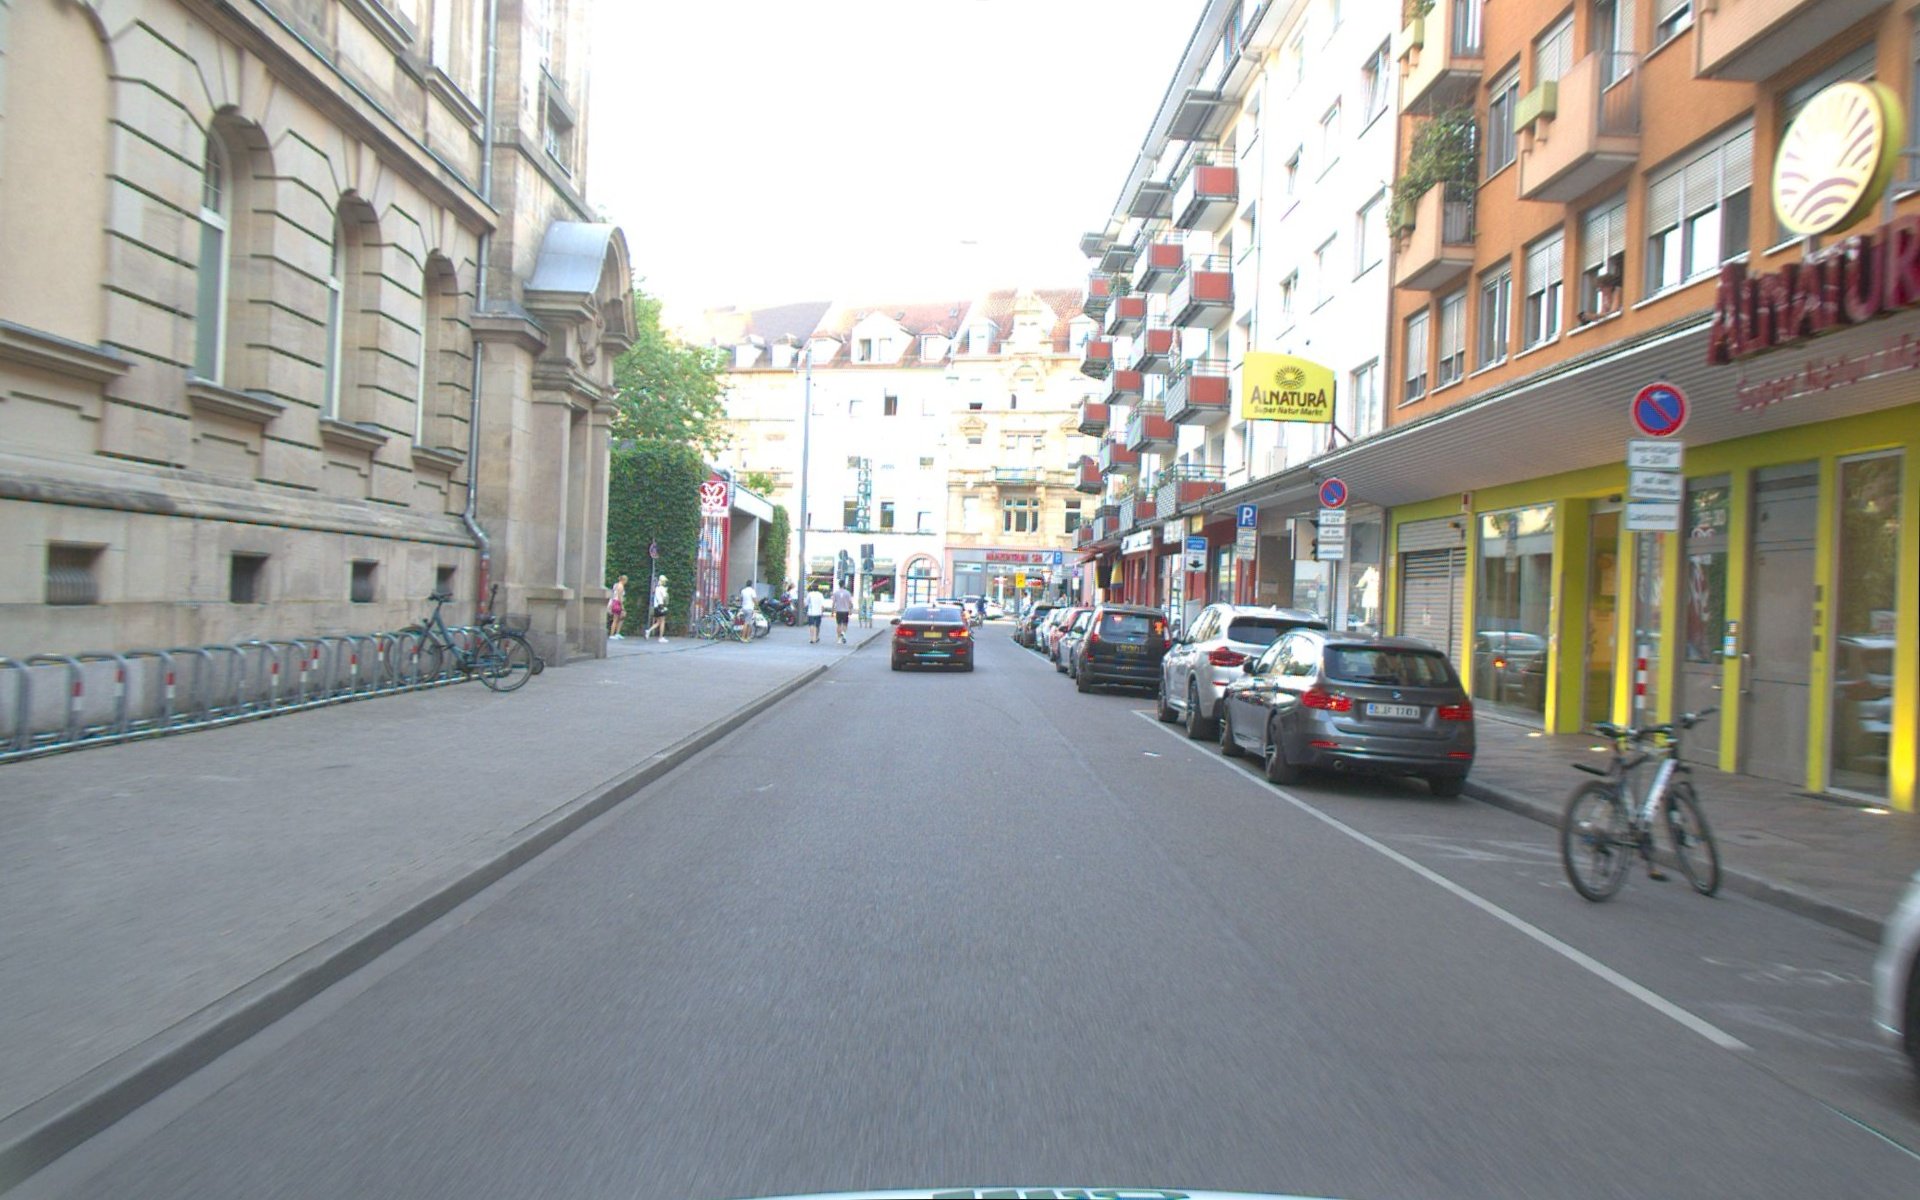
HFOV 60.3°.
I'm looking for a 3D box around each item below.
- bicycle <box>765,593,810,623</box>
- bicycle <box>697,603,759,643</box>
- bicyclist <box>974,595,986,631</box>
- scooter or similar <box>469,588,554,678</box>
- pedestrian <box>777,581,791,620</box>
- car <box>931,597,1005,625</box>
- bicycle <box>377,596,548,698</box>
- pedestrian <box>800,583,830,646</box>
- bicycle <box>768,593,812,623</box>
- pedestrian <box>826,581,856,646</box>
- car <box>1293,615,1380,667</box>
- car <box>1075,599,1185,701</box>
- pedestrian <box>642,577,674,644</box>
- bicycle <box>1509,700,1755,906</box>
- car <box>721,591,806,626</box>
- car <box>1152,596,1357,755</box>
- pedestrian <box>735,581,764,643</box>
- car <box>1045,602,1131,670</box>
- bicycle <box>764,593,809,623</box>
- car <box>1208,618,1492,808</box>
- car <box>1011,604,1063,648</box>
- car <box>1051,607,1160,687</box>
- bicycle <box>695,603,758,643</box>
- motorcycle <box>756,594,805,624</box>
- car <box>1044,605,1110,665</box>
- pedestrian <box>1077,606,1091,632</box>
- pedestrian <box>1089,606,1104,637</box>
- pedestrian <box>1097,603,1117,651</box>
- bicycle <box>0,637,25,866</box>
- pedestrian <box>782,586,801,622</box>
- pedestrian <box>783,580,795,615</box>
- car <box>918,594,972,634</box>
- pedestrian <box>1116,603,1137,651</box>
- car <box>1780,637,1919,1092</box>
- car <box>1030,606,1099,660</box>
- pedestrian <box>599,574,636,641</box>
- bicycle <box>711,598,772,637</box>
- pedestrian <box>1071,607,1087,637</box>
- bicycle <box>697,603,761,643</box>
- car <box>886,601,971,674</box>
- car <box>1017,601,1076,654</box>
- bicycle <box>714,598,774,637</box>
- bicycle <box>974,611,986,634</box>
[{"bbox_3d":[-7.104,0.318,68.195,1.757,1.127,0.500,4,0,1],"label":"bicycle"},{"bbox_3d":[-6.961,0.677,49.745,1.758,1.127,0.500,2,0,-2],"label":"bicycle"},{"bbox_3d":[1.020,0.668,83.168,0.513,1.787,0.620,3,0,1],"label":"bicyclist"},{"bbox_3d":[-6.562,0.480,24.238,1.113,1.254,0.495,3,0,-13],"label":"scooter or similar"},{"bbox_3d":[-8.766,0.037,82.454,0.571,1.915,0.634,1,0,5],"label":"pedestrian"},{"bbox_3d":[0.516,0.685,104.475,4.263,1.589,1.868,1,-1,22],"label":"car"},{"bbox_3d":[-6.132,0.577,20.456,1.906,1.080,0.617,5,-1,-16],"label":"bicycle"},{"bbox_3d":[-4.380,0.432,50.075,0.726,1.844,1.008,4,0,-1],"label":"pedestrian"},{"bbox_3d":[-7.093,0.318,68.944,1.760,1.127,0.499,4,0,-6],"label":"bicycle"},{"bbox_3d":[-3.629,0.418,50.487,0.729,1.926,1.050,3,0,0],"label":"pedestrian"},{"bbox_3d":[11.043,1.187,48.717,1.703,1.360,4.001,1,0,1],"label":"car"},{"bbox_3d":[3.102,0.864,30.916,1.757,1.637,4.488,4,0,4],"label":"car"},{"bbox_3d":[-8.156,0.276,44.702,0.636,1.780,0.985,2,0,-1],"label":"pedestrian"},{"bbox_3d":[4.033,1.161,9.867,1.723,1.074,0.649,3,0,-43],"label":"bicycle"},{"bbox_3d":[-9.340,0.416,78.439,3.913,1.527,1.887,1,0,-9],"label":"car"},{"bbox_3d":[3.714,0.878,21.679,1.716,1.697,4.756,4,0,0],"label":"car"},{"bbox_3d":[-6.123,0.347,48.121,0.702,1.785,0.848,2,0,-2],"label":"pedestrian"},{"bbox_3d":[3.356,0.913,44.160,1.678,1.538,4.650,4,0,-2],"label":"car"},{"bbox_3d":[-7.094,0.323,67.600,1.758,1.127,0.500,4,0,-2],"label":"bicycle"},{"bbox_3d":[3.738,1.001,16.711,1.657,1.439,4.756,4,0,0],"label":"car"},{"bbox_3d":[3.046,0.996,66.296,1.729,1.528,4.790,4,0,0],"label":"car"},{"bbox_3d":[3.120,0.972,36.293,1.702,1.439,4.680,4,0,-2],"label":"car"},{"bbox_3d":[-6.952,0.677,49.209,1.758,1.127,0.500,2,0,-2],"label":"bicycle"},{"bbox_3d":[-7.195,0.354,66.165,1.765,1.082,0.764,3,0,25],"label":"motorcycle"},{"bbox_3d":[3.409,1.006,48.695,1.574,1.538,4.048,4,0,0],"label":"car"},{"bbox_3d":[5.805,0.893,77.369,0.415,1.222,0.529,-1,0,-43],"label":"pedestrian"},{"bbox_3d":[6.131,0.977,74.497,0.594,1.371,0.696,1,0,-2],"label":"pedestrian"},{"bbox_3d":[5.207,0.942,58.597,0.634,1.690,0.655,-1,0,1],"label":"pedestrian"},{"bbox_3d":[-5.473,0.662,7.603,1.899,1.080,0.619,4,-1,-3],"label":"bicycle"},{"bbox_3d":[-8.497,0.199,83.223,0.661,1.776,0.654,1,0,39],"label":"pedestrian"},{"bbox_3d":[-8.444,-0.127,81.794,0.490,1.672,0.521,1,0,1],"label":"pedestrian"},{"bbox_3d":[-0.568,0.532,65.434,1.838,1.498,4.002,1,0,3],"label":"car"},{"bbox_3d":[5.891,0.960,58.583,0.634,1.690,0.794,-1,0,1],"label":"pedestrian"},{"bbox_3d":[4.042,0.943,3.864,1.658,1.435,4.636,4,0,-3],"label":"car"},{"bbox_3d":[3.361,1.039,53.871,1.665,1.477,4.456,4,0,-2],"label":"car"},{"bbox_3d":[-9.313,0.202,44.966,0.737,1.780,0.846,3,0,-1],"label":"pedestrian"},{"bbox_3d":[-6.794,0.542,51.388,1.757,1.127,0.500,3,0,2],"label":"bicycle"},{"bbox_3d":[5.334,0.981,74.137,0.672,1.309,0.609,0,-1,9],"label":"pedestrian"},{"bbox_3d":[-6.821,0.675,48.866,1.758,1.127,0.500,2,0,-1],"label":"bicycle"},{"bbox_3d":[-0.666,0.789,36.918,1.729,1.399,4.790,3,0,0],"label":"car"},{"bbox_3d":[3.121,0.967,60.405,1.729,1.670,4.790,4,0,-1],"label":"car"},{"bbox_3d":[-6.786,0.548,52.021,1.757,1.127,0.500,3,0,2],"label":"bicycle"},{"bbox_3d":[0.997,1.141,83.188,0.525,1.127,1.800,3,0,1],"label":"bicycle"}]
